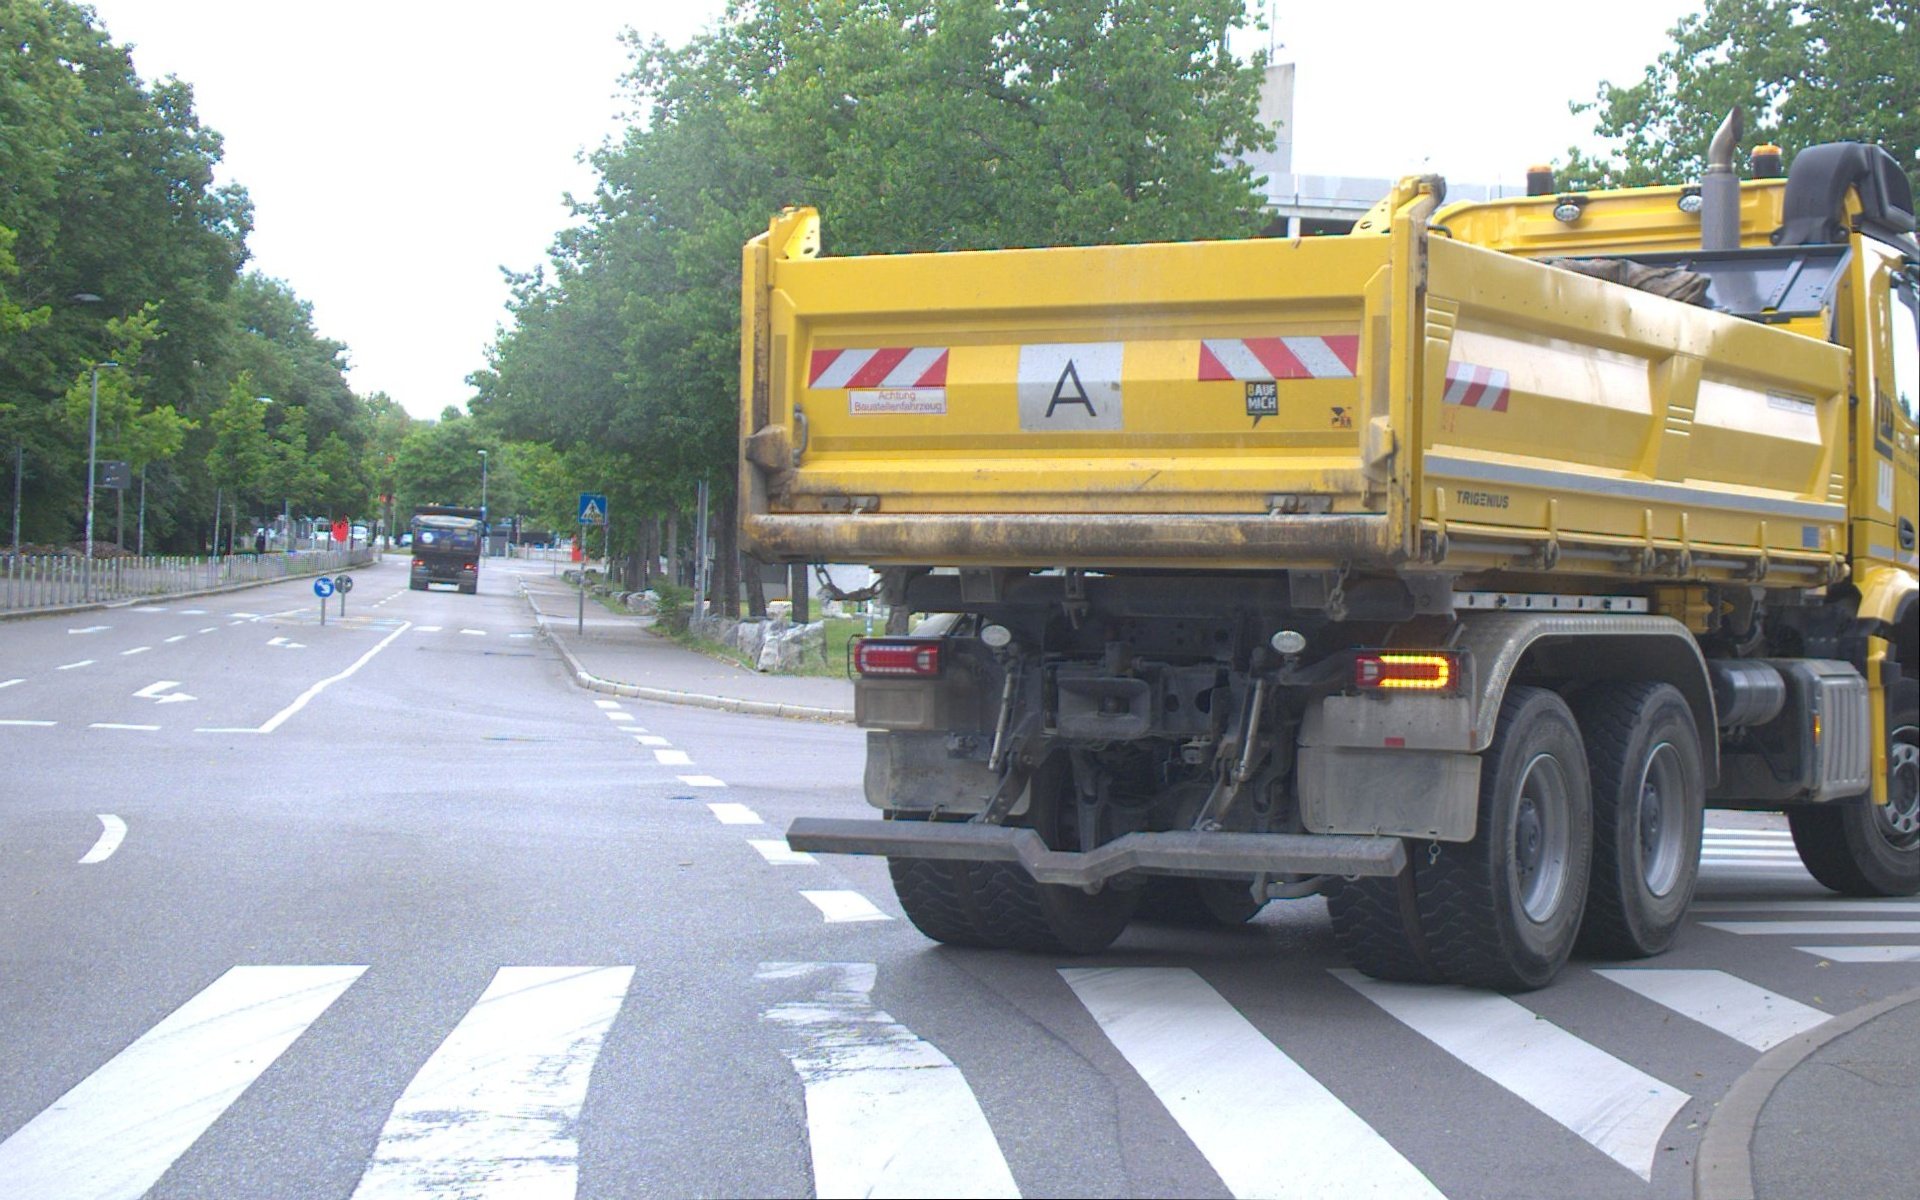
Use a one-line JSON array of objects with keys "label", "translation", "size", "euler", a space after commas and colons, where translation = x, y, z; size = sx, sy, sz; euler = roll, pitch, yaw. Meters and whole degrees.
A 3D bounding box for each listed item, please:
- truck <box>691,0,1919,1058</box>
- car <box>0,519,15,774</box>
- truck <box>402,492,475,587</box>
[{"label": "truck", "translation": [2.199, -0.437, 14.810], "size": [2.762, 3.686, 7.867], "euler": [0, 0, 29]}, {"label": "car", "translation": [-7.637, 0.262, 19.532], "size": [1.842, 1.569, 4.544], "euler": [2, 1, 25]}, {"label": "truck", "translation": [-20.129, -2.279, 132.646], "size": [2.672, 3.546, 7.925], "euler": [0, 0, -9]}]
